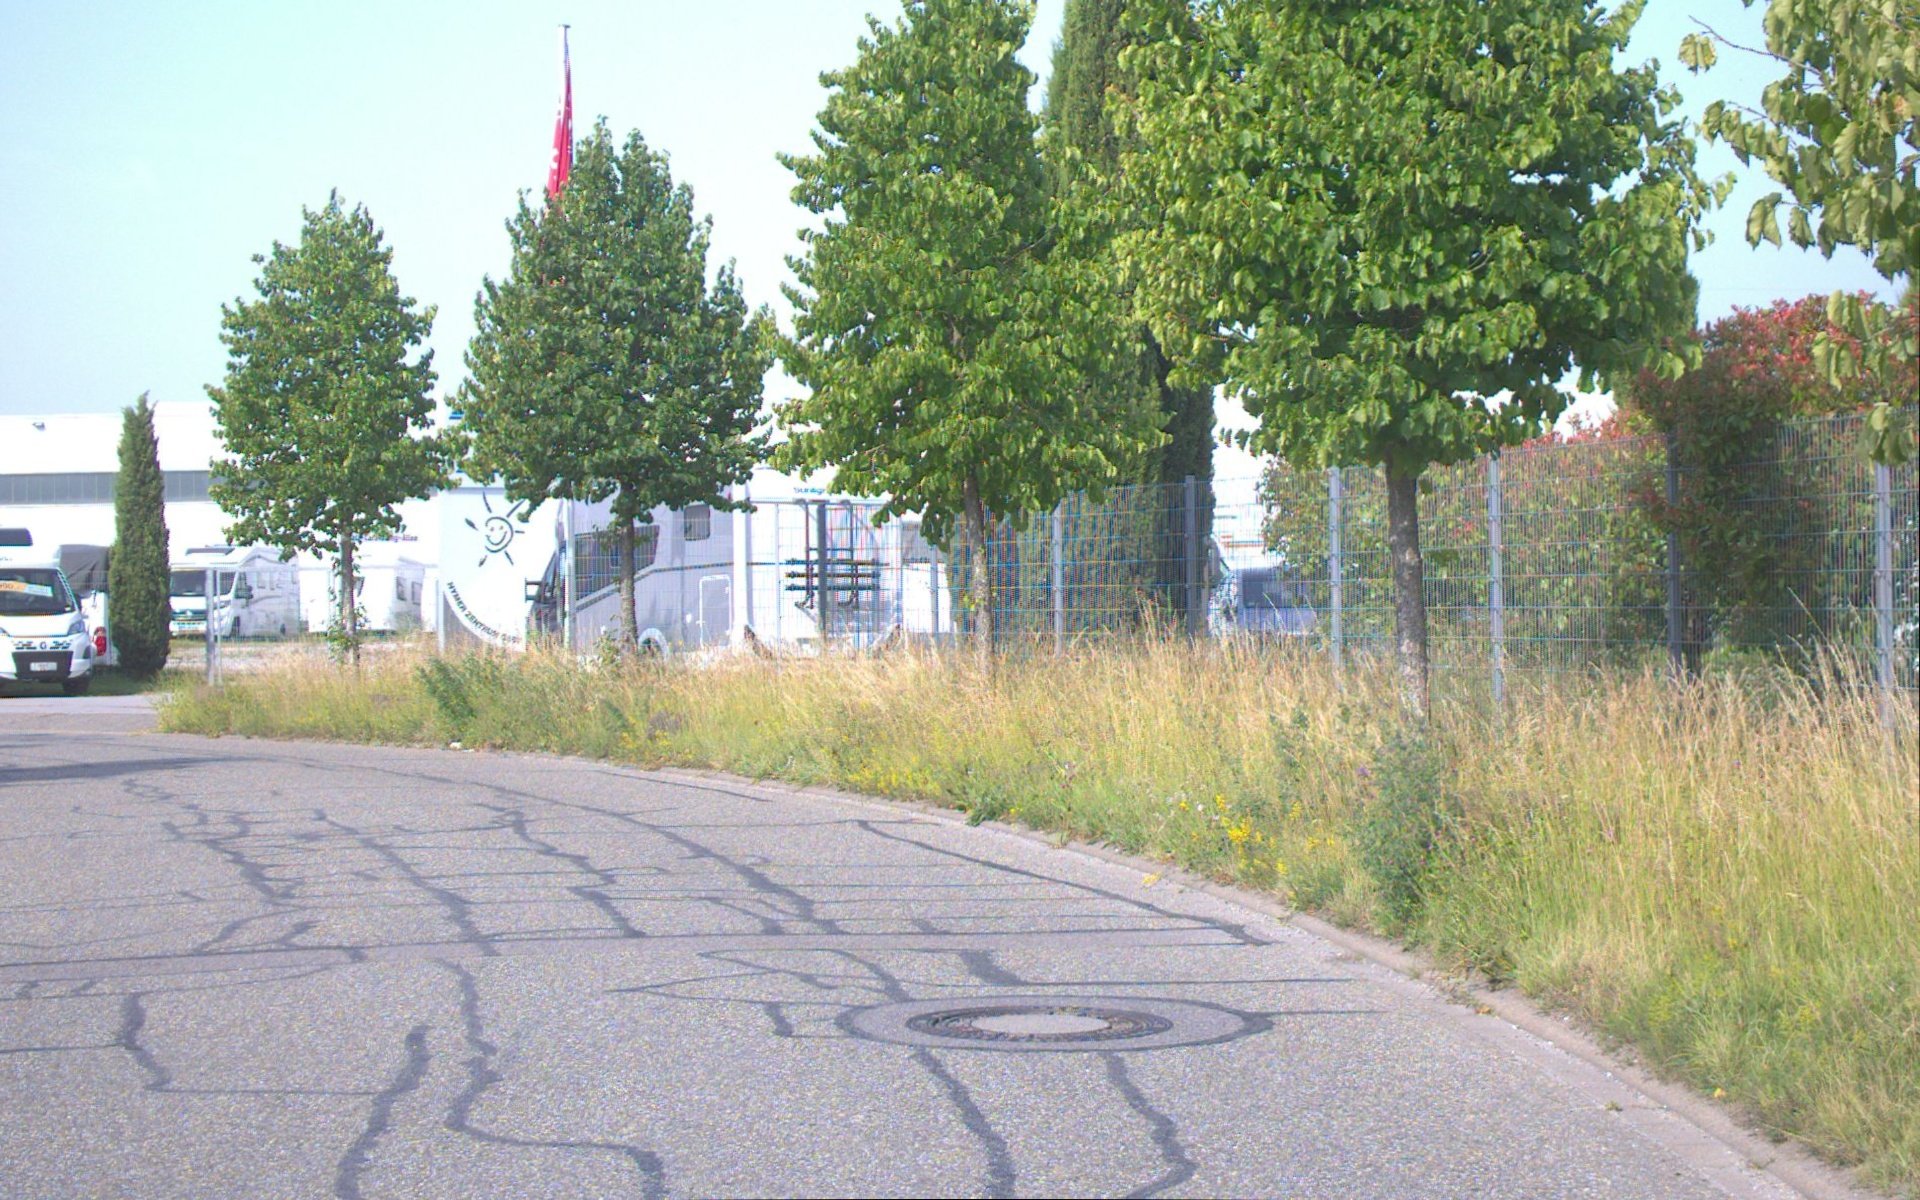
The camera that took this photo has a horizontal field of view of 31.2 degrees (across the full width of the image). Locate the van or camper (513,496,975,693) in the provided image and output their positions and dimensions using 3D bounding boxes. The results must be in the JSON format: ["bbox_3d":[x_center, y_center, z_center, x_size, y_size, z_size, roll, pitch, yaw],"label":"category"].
[{"bbox_3d":[-3.505,-0.096,55.580,7.257,3.021,2.586,-1,0,-5],"label":"van or camper"}]

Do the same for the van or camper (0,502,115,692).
[{"bbox_3d":[-16.387,-0.059,56.399,2.331,2.933,6.969,-1,1,-37],"label":"van or camper"}]

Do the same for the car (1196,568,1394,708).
[{"bbox_3d":[4.095,0.433,42.608,1.722,1.637,4.001,1,0,-5],"label":"car"}]

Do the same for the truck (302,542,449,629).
[{"bbox_3d":[-15.930,-0.408,94.178,2.450,2.257,8.002,0,1,1],"label":"truck"}]

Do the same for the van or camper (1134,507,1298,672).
[{"bbox_3d":[4.628,-0.163,63.132,2.320,2.854,6.610,-1,0,-1],"label":"van or camper"}]

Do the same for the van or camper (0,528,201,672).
[{"bbox_3d":[-16.209,-0.044,64.334,2.483,2.550,6.626,0,1,1],"label":"van or camper"}]

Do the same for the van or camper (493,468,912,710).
[{"bbox_3d":[-3.454,-0.126,43.978,2.349,2.838,7.342,0,0,-30],"label":"van or camper"}]

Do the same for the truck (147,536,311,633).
[{"bbox_3d":[-19.377,-0.431,91.574,2.450,2.463,8.002,0,1,1],"label":"truck"}]

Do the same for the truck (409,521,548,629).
[{"bbox_3d":[-13.097,-0.698,94.076,2.450,2.817,8.002,0,0,1],"label":"truck"}]
